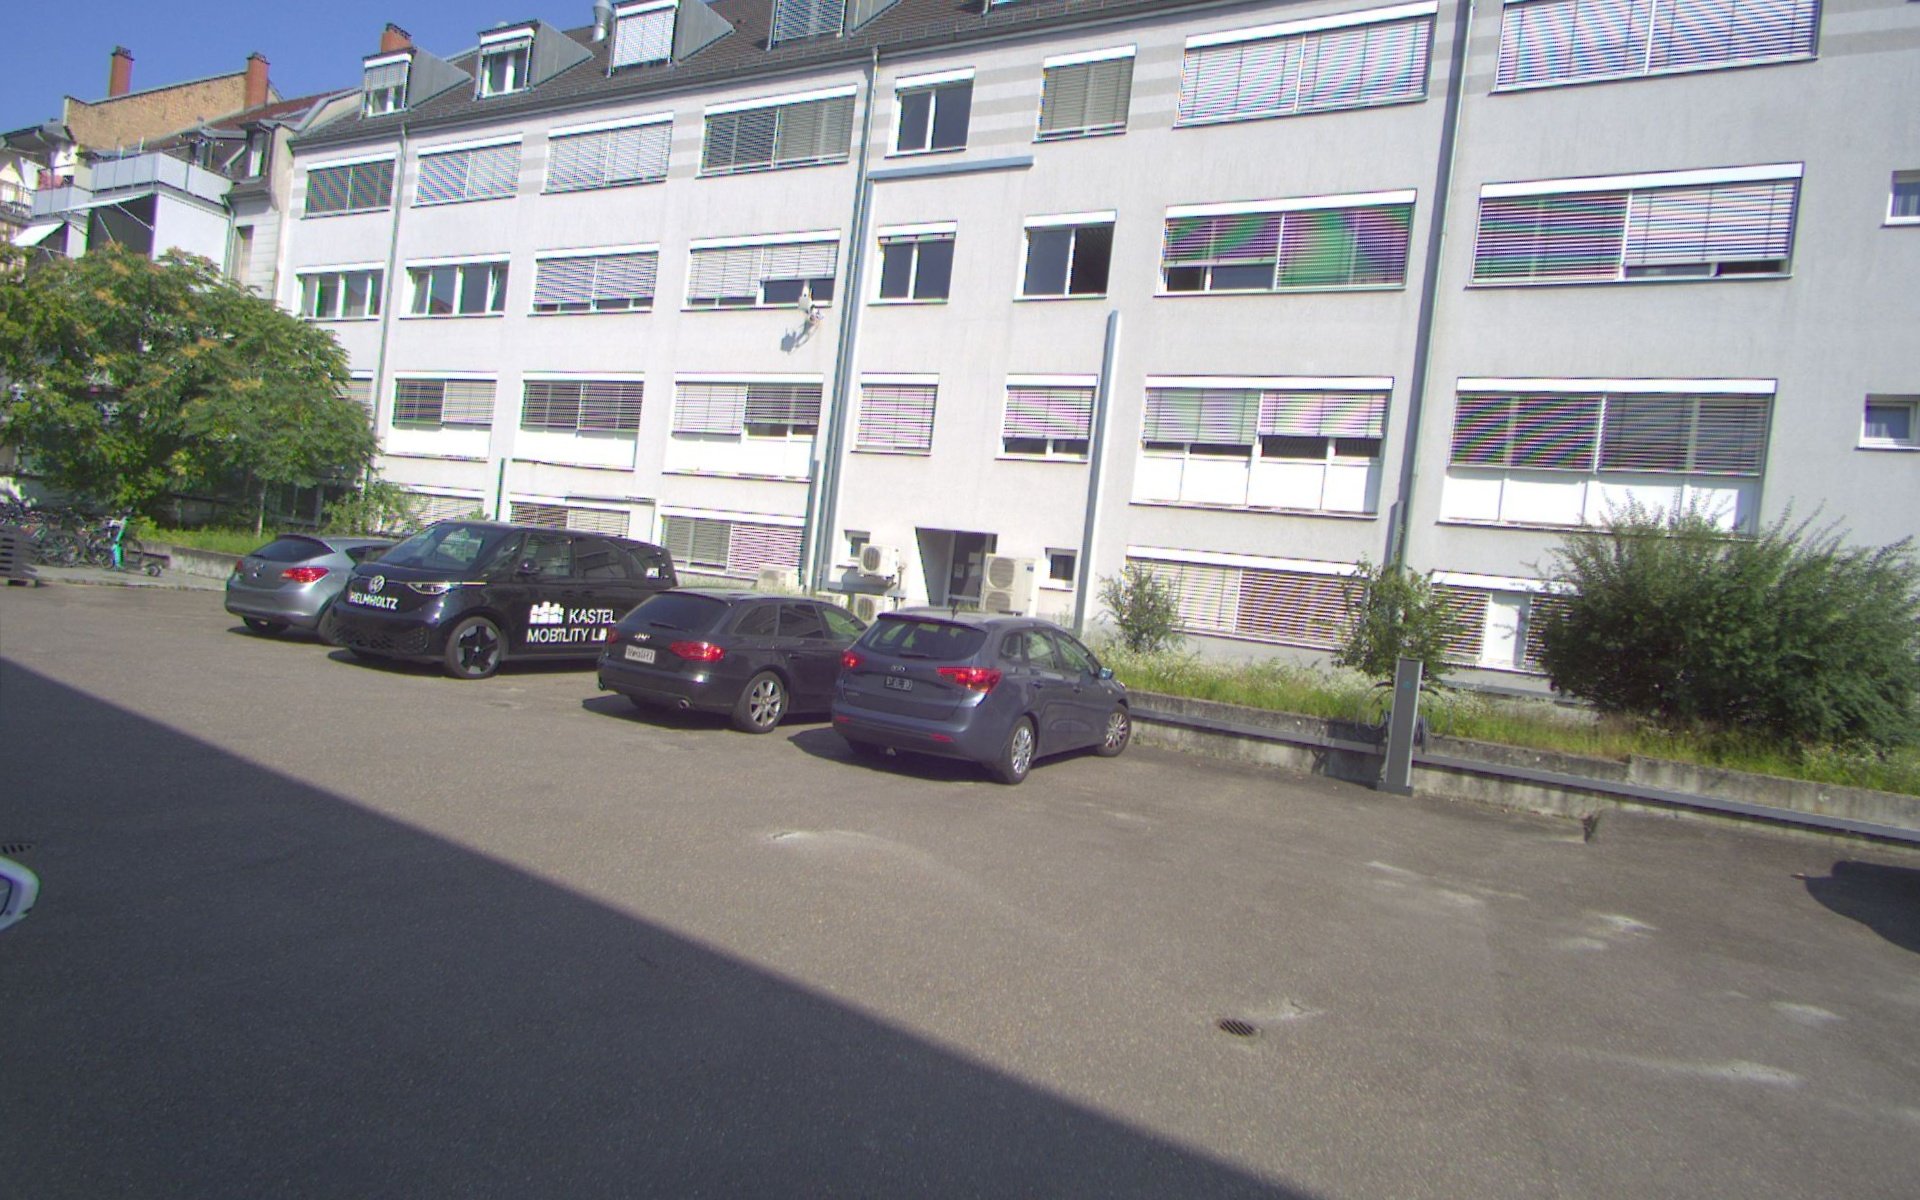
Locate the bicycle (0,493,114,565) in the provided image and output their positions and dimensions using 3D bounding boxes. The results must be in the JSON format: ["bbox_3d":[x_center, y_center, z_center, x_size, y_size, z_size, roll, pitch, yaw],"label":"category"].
[{"bbox_3d":[-19.706,-1.538,21.444,0.518,1.261,2.414,7,0,32],"label":"bicycle"}]

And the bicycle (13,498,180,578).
[{"bbox_3d":[-17.267,-1.218,20.210,0.518,1.261,2.414,7,0,32],"label":"bicycle"}]

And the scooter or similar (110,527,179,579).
[{"bbox_3d":[-16.653,-0.953,20.551,0.982,0.935,0.360,7,0,-5],"label":"scooter or similar"}]

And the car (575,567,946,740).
[{"bbox_3d":[-2.041,0.609,11.554,1.662,1.455,4.237,7,1,31],"label":"car"}]

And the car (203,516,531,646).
[{"bbox_3d":[-8.421,-0.185,14.709,1.632,1.484,3.908,7,0,19],"label":"car"}]

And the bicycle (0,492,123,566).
[{"bbox_3d":[-19.196,-1.498,21.079,0.518,1.261,2.414,7,0,32],"label":"bicycle"}]

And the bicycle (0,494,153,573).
[{"bbox_3d":[-17.990,-1.325,20.391,0.518,1.261,2.414,7,0,32],"label":"bicycle"}]

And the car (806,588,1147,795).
[{"bbox_3d":[0.396,0.841,10.290,1.712,1.496,4.054,7,1,28],"label":"car"}]

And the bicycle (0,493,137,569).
[{"bbox_3d":[-18.633,-1.414,20.769,0.518,1.261,2.414,7,0,32],"label":"bicycle"}]

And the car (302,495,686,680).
[{"bbox_3d":[-5.872,-0.078,13.331,1.880,1.882,4.346,7,1,23],"label":"car"}]
